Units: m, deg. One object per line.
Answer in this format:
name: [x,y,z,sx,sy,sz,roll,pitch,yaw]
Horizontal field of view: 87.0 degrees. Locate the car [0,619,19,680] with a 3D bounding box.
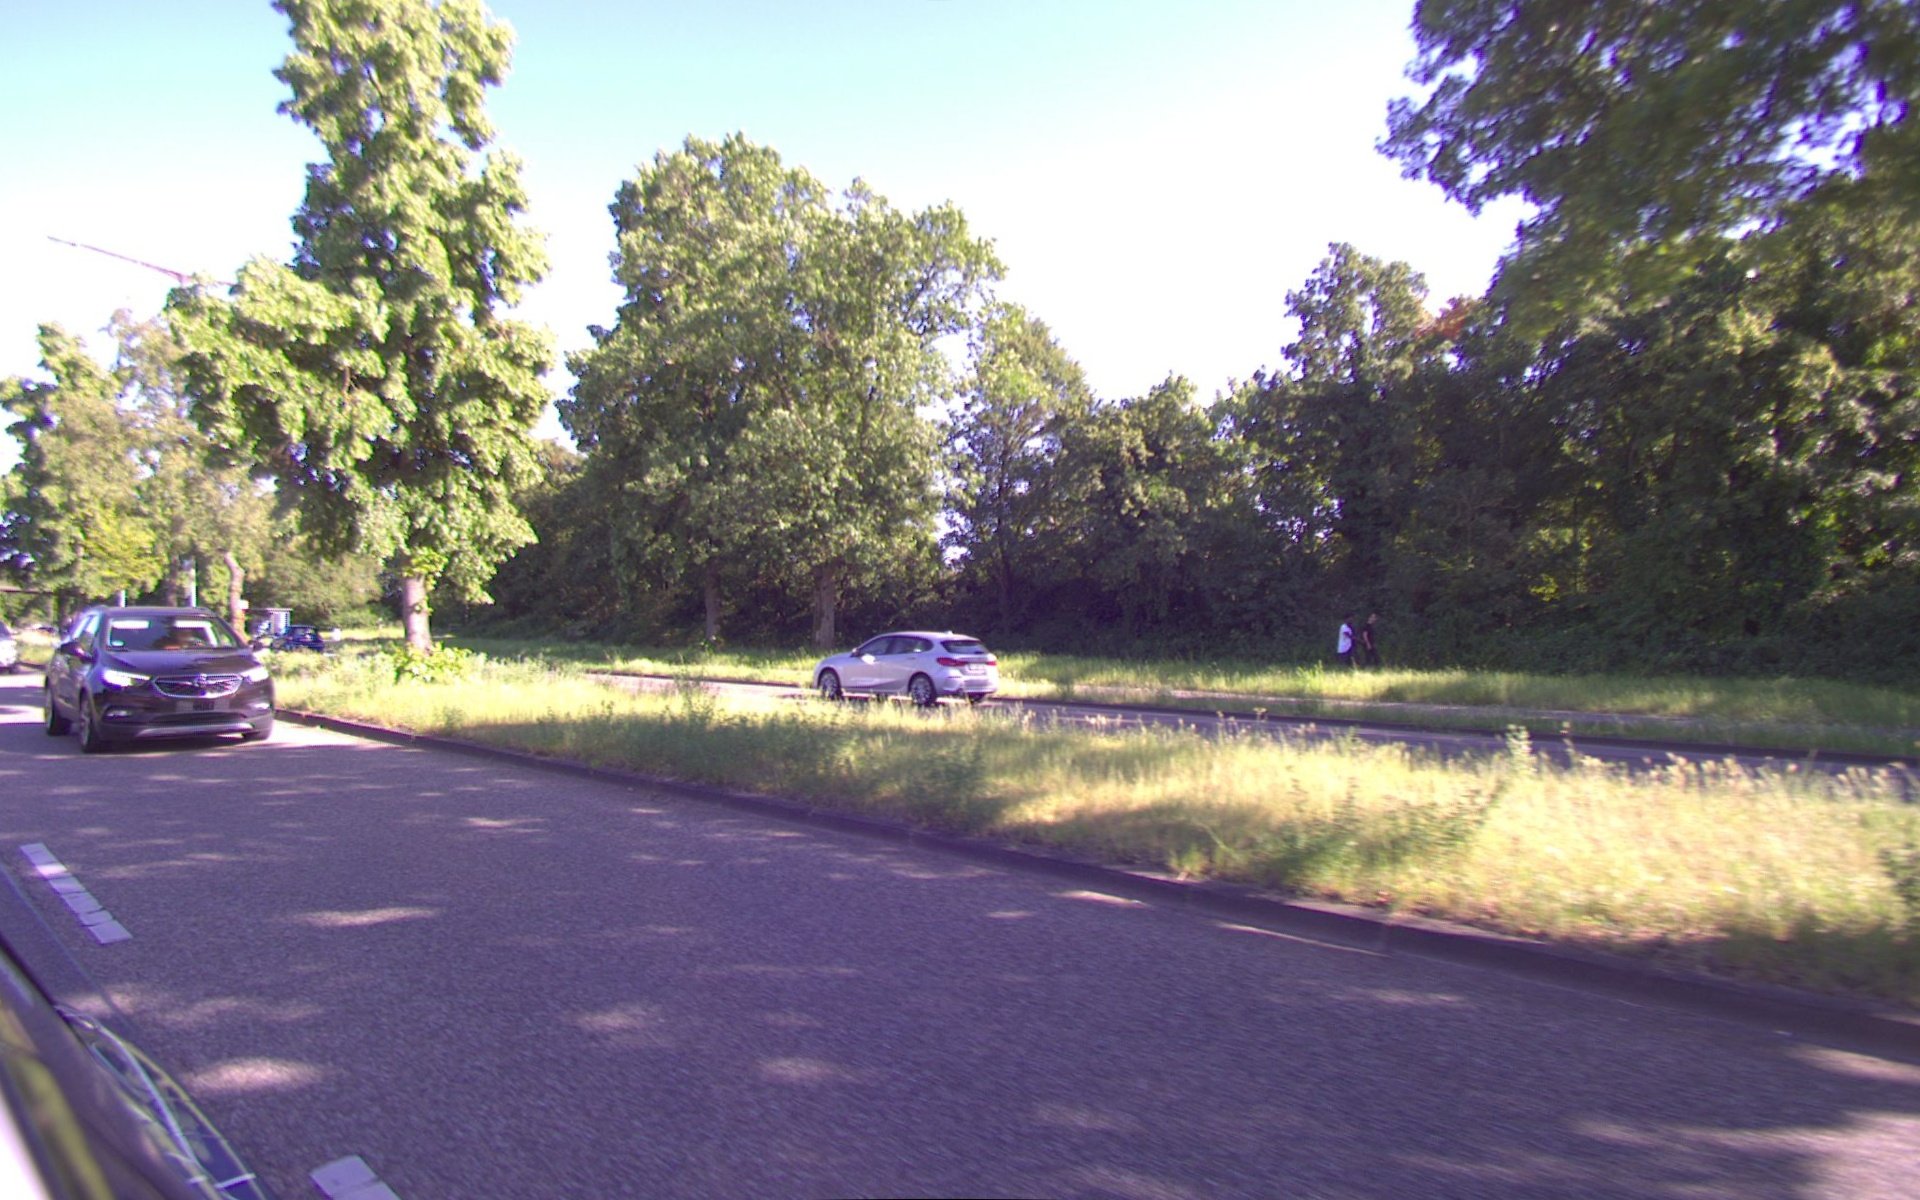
car: [-27.495,1.342,27.963,4.104,1.622,1.765,-1,-2,41]

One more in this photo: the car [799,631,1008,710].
car: [-1.247,1.402,20.884,4.343,1.468,1.708,-2,-4,41]

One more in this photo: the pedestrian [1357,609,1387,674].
pedestrian: [10.833,1.080,26.617,0.553,1.672,0.541,-1,0,-44]

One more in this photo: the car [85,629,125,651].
car: [-65.797,3.069,77.866,3.745,1.590,1.710,-2,-4,41]

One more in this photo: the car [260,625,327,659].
car: [-32.284,2.028,48.972,3.745,1.590,1.710,-2,-4,41]

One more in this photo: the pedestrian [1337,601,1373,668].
pedestrian: [9.988,0.862,25.592,0.679,1.672,0.674,-1,0,38]

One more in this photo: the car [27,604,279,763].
car: [-10.127,0.913,12.573,4.416,1.644,1.678,-1,-2,41]
